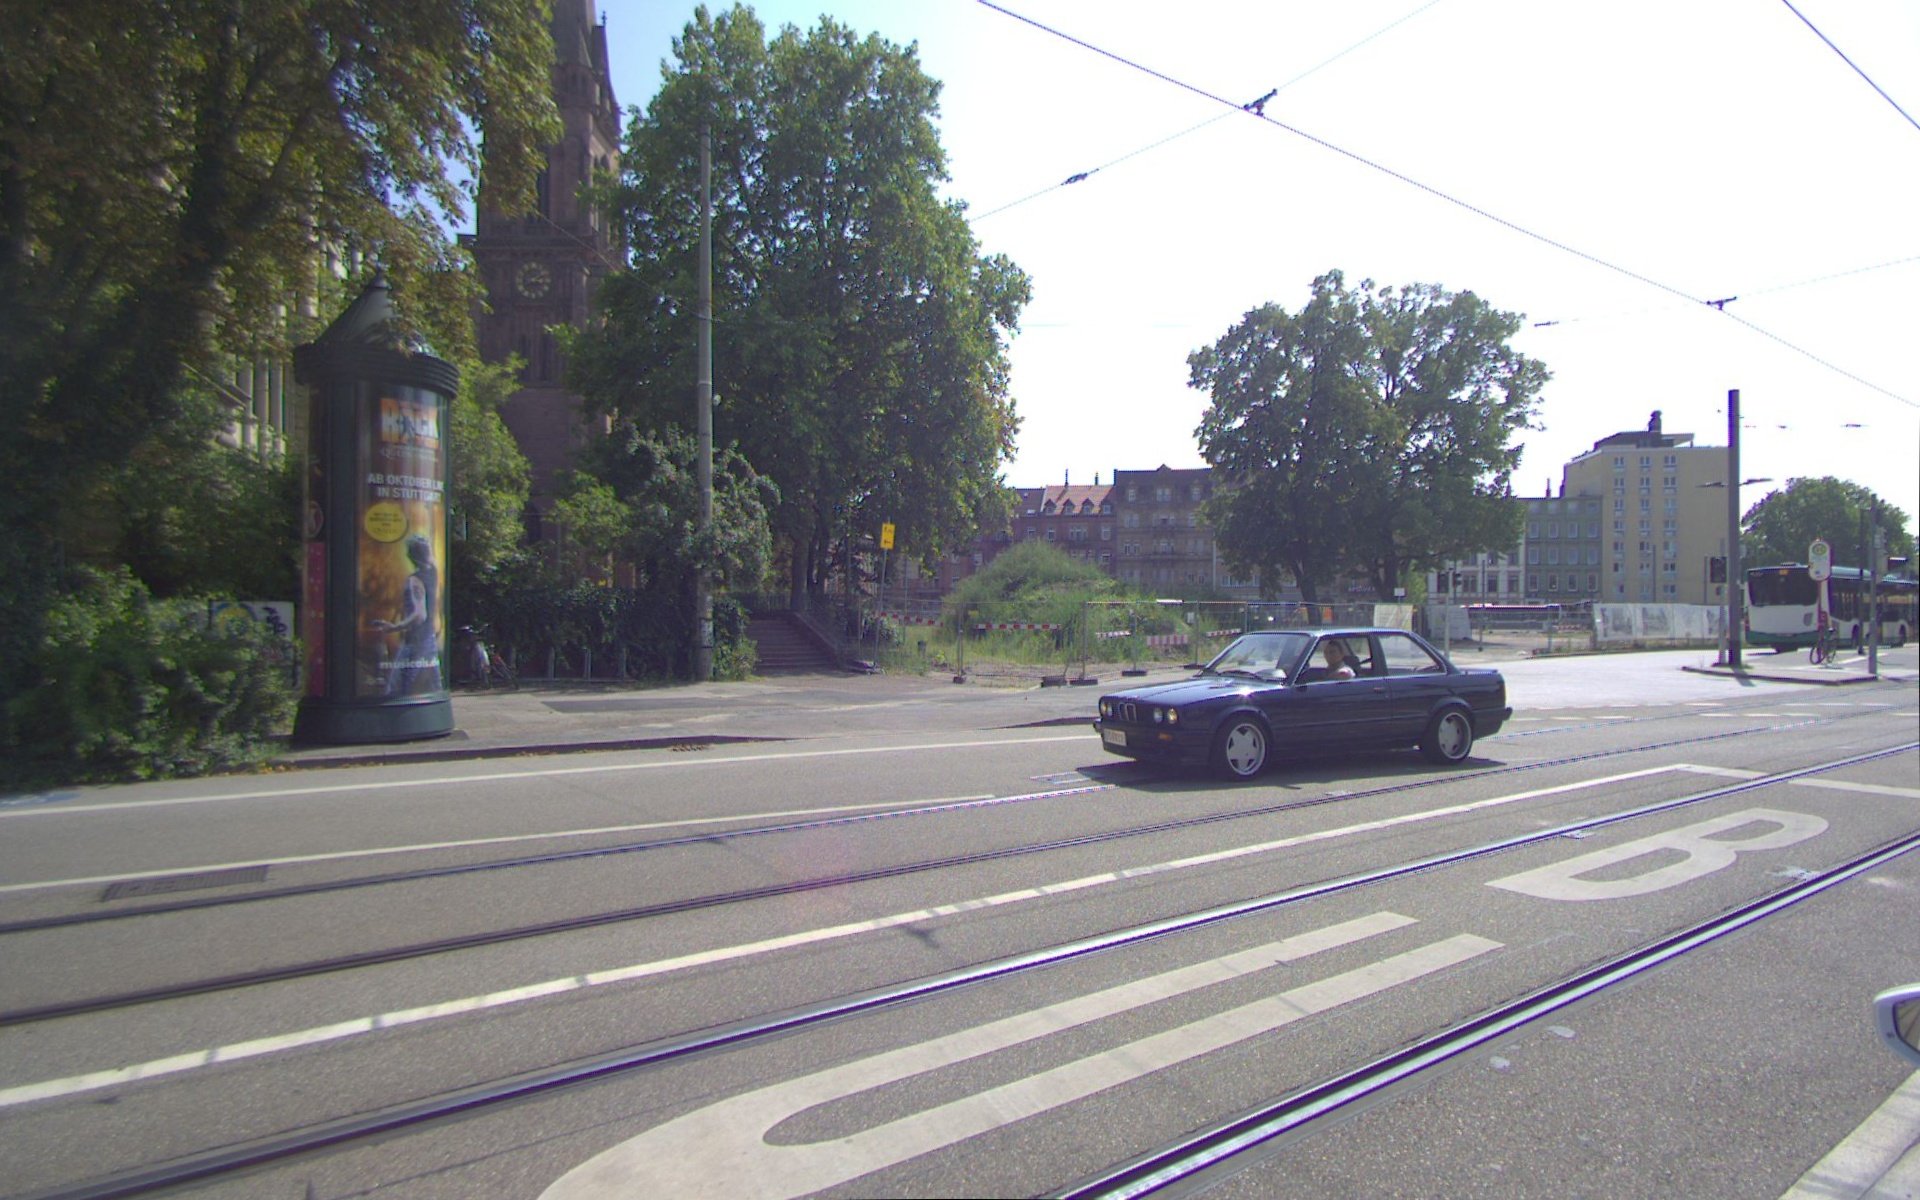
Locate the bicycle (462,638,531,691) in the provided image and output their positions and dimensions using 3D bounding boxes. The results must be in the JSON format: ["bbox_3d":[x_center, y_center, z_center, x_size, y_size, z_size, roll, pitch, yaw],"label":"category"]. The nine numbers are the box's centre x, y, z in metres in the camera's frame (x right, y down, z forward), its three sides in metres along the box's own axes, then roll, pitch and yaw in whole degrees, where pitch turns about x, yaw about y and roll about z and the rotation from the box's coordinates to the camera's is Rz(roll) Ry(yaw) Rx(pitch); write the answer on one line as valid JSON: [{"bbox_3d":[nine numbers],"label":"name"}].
[{"bbox_3d":[-8.742,1.180,18.907,0.743,0.906,2.157,1,-1,-37],"label":"bicycle"}]

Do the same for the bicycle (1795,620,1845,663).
[{"bbox_3d":[25.499,1.220,29.771,1.685,1.239,0.604,1,-1,-30],"label":"bicycle"}]

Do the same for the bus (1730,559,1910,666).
[{"bbox_3d":[34.535,0.507,40.144,10.490,3.825,2.939,1,0,-35],"label":"bus"}]

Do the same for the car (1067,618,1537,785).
[{"bbox_3d":[3.471,0.886,10.096,4.552,1.396,1.684,1,-1,-24],"label":"car"}]
